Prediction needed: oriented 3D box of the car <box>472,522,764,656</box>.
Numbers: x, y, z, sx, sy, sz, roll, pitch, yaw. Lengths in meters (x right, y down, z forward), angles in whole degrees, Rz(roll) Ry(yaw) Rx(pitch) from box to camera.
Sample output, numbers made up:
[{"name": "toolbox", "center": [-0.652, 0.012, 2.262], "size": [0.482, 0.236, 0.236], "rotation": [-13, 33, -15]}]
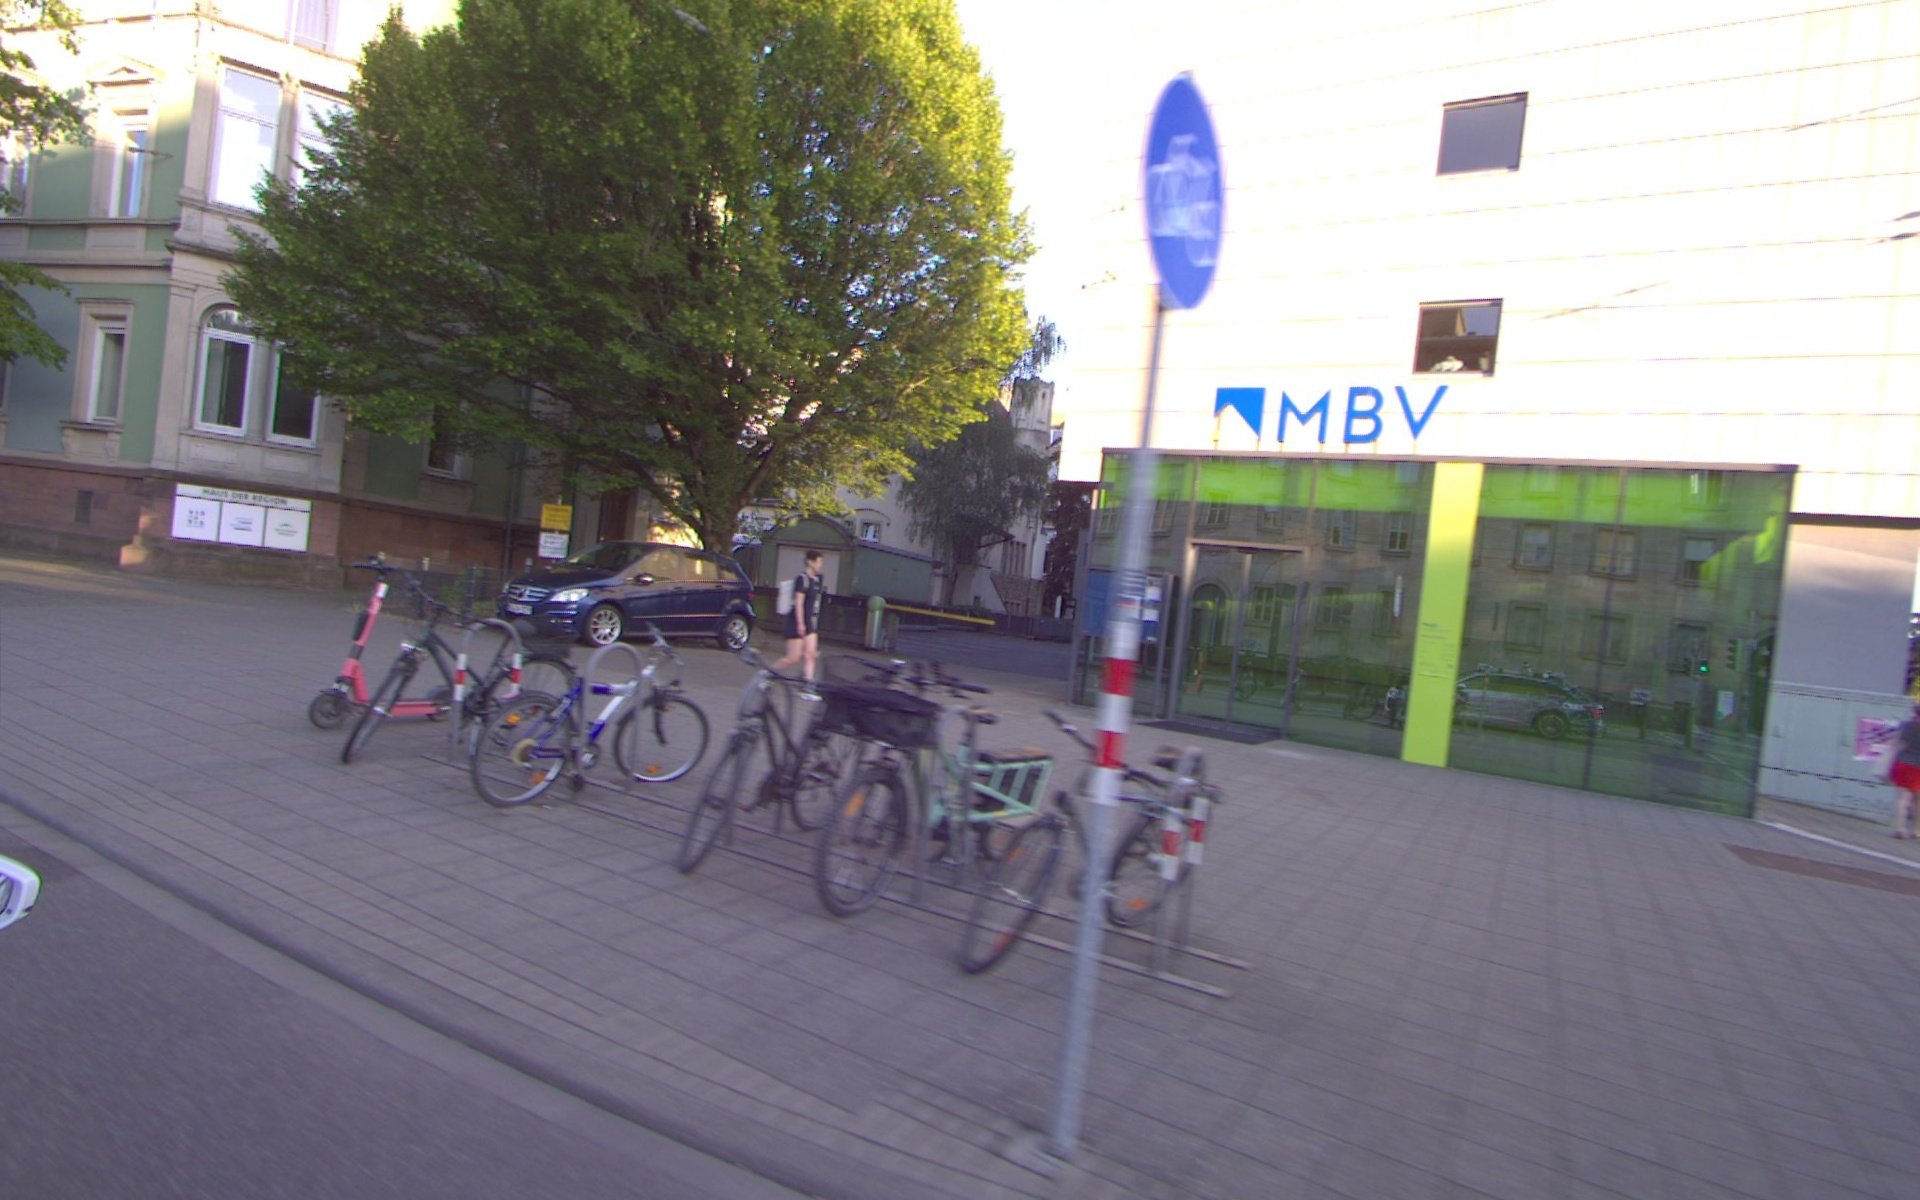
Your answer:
[{"name": "car", "center": [-5.121, -0.087, 15.610], "size": [1.773, 1.593, 3.990], "rotation": [8, 0, 30]}]

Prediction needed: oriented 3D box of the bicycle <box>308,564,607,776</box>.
[{"name": "bicycle", "center": [-3.270, 0.455, 6.680], "size": [0.732, 1.177, 1.528], "rotation": [7, 0, 32]}]

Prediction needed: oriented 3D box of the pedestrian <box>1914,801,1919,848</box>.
[{"name": "pedestrian", "center": [10.852, 1.857, 10.690], "size": [0.723, 1.790, 0.707], "rotation": [7, 1, 31]}]

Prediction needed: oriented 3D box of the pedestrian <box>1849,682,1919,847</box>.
[{"name": "pedestrian", "center": [10.909, 1.882, 11.568], "size": [0.734, 1.790, 0.707], "rotation": [7, 1, 31]}]

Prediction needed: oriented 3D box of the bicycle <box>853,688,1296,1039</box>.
[{"name": "bicycle", "center": [0.563, 1.001, 4.283], "size": [1.853, 1.088, 0.735], "rotation": [7, 0, -43]}]

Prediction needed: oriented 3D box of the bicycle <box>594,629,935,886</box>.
[{"name": "bicycle", "center": [-0.977, 0.783, 5.498], "size": [0.732, 1.088, 1.757], "rotation": [7, 0, 32]}]

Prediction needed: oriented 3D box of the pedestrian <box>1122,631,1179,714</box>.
[{"name": "pedestrian", "center": [3.011, 1.140, 15.880], "size": [0.605, 1.224, 0.542], "rotation": [7, 1, 31]}]

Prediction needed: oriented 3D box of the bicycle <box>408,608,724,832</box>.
[{"name": "bicycle", "center": [-2.302, 0.679, 6.060], "size": [0.732, 1.088, 1.553], "rotation": [7, 0, 32]}]

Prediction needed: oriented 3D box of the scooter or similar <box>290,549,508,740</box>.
[{"name": "scooter or similar", "center": [-4.088, 0.317, 7.392], "size": [0.581, 1.241, 1.200], "rotation": [7, 2, 31]}]

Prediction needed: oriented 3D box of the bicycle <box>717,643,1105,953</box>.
[{"name": "bicycle", "center": [-0.109, 0.852, 5.120], "size": [0.732, 1.146, 2.232], "rotation": [7, 1, 32]}]

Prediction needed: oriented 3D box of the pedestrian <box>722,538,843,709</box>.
[{"name": "pedestrian", "center": [-2.012, 0.267, 11.484], "size": [0.970, 1.790, 0.709], "rotation": [7, 1, 15]}]

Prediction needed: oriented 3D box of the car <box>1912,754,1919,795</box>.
[{"name": "car", "center": [23.714, 3.994, 23.037], "size": [1.669, 1.685, 3.861], "rotation": [11, 2, 30]}]
